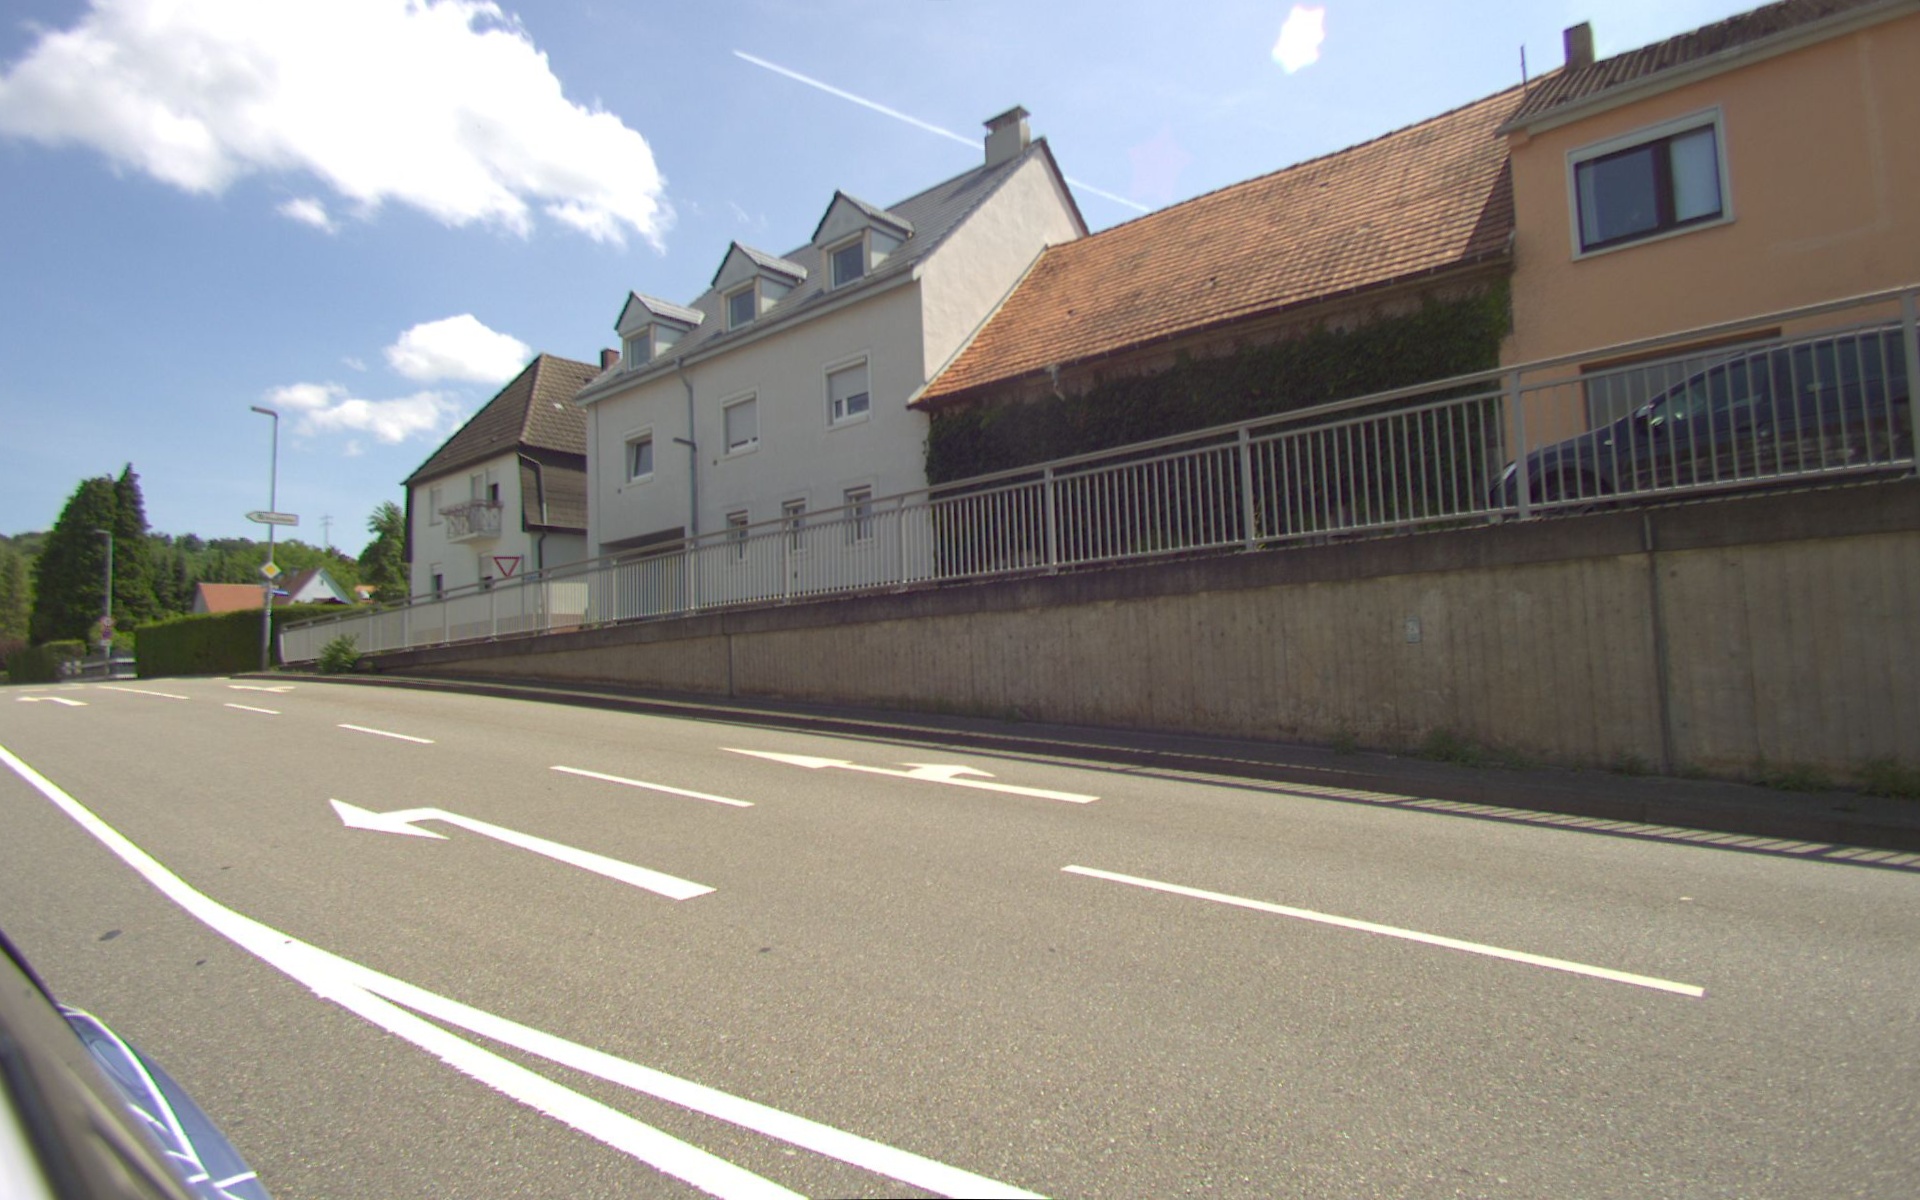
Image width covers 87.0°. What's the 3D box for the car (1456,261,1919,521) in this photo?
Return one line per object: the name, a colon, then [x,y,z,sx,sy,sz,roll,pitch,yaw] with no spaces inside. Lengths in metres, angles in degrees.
car: [6.836,-1.681,8.570,4.389,1.416,1.767,-5,-4,40]
